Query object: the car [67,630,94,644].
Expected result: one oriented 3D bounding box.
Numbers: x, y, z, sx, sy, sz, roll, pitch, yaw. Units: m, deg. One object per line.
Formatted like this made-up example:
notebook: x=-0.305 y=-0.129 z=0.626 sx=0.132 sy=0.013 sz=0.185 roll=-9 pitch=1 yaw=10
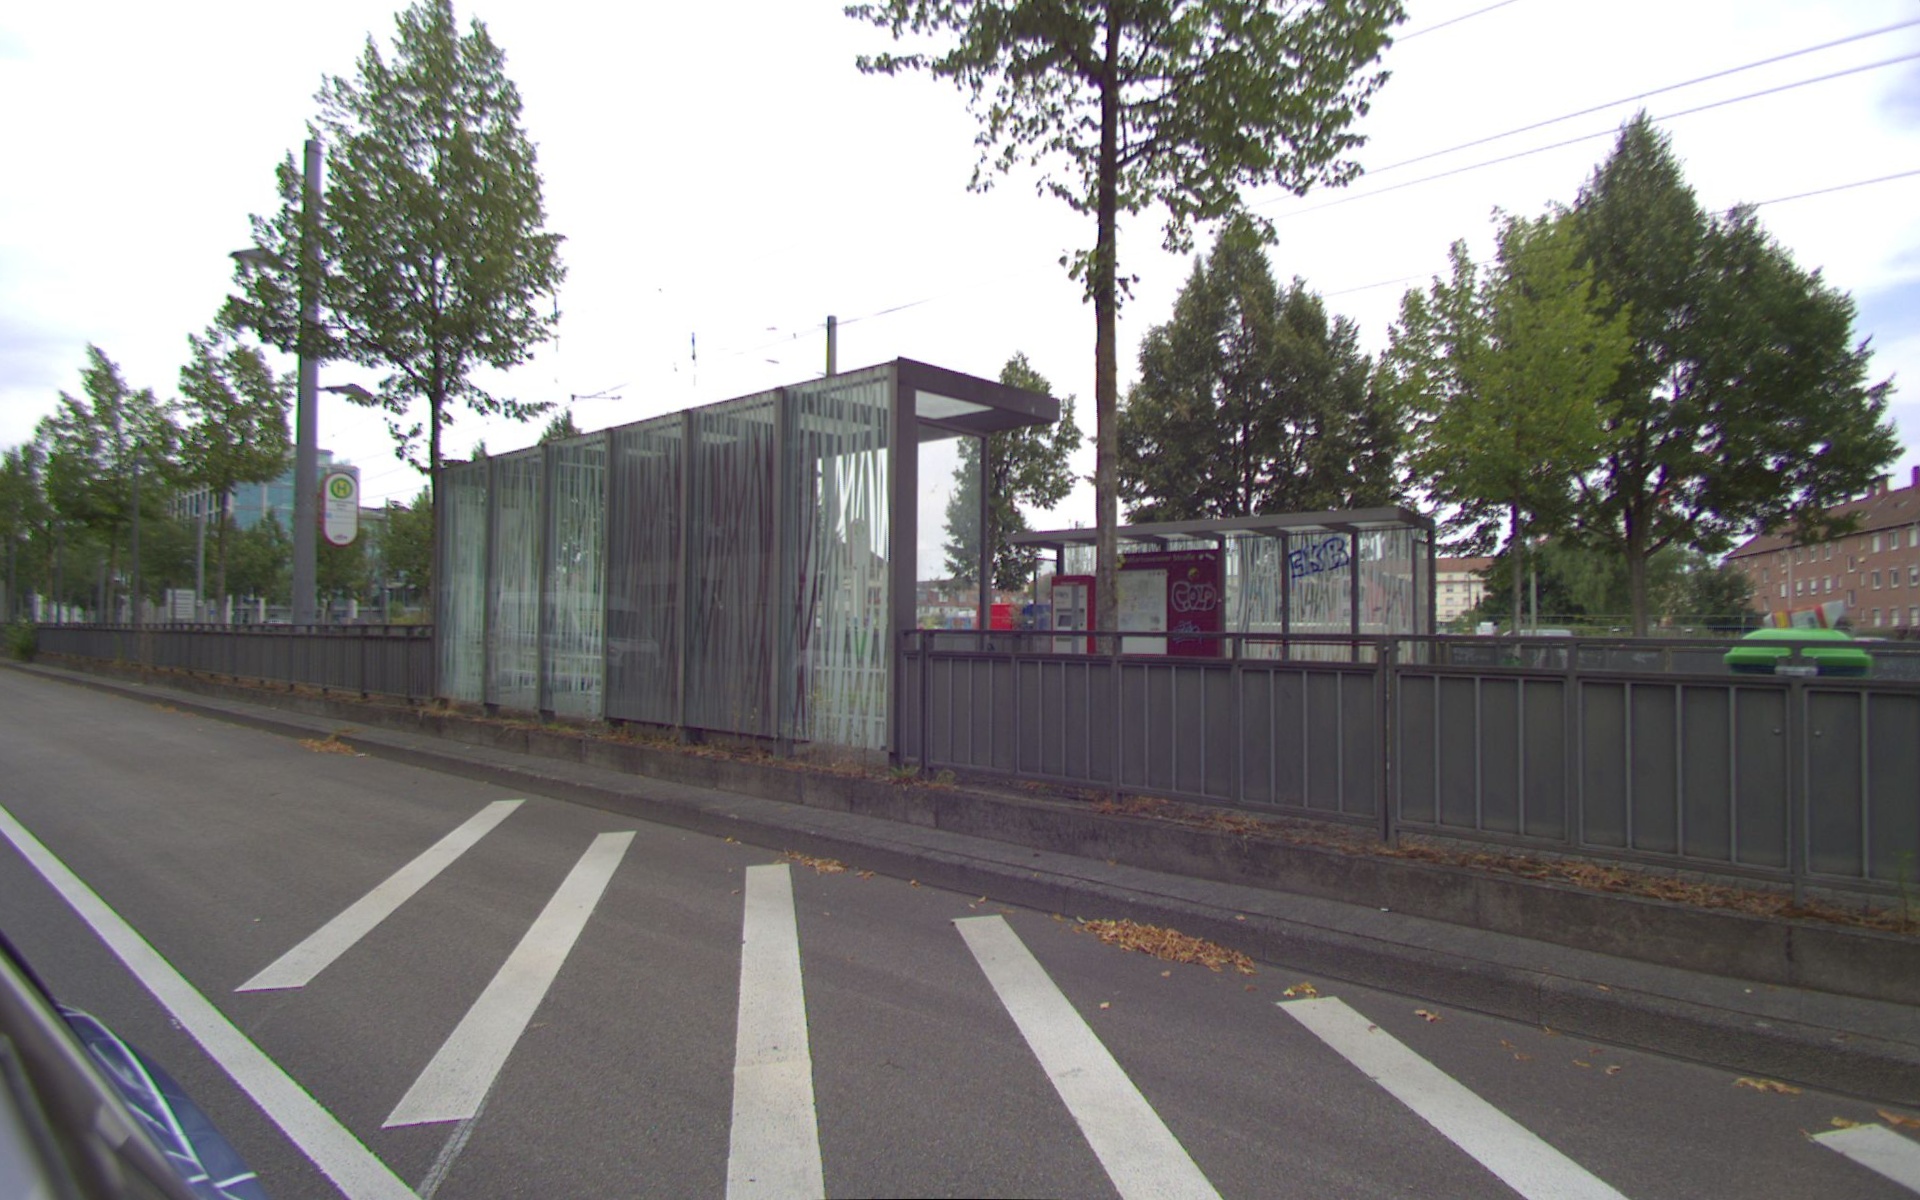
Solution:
car: x=-110.073 y=4.631 z=126.652 sx=4.686 sy=1.669 sz=1.809 roll=-2 pitch=-2 yaw=39
